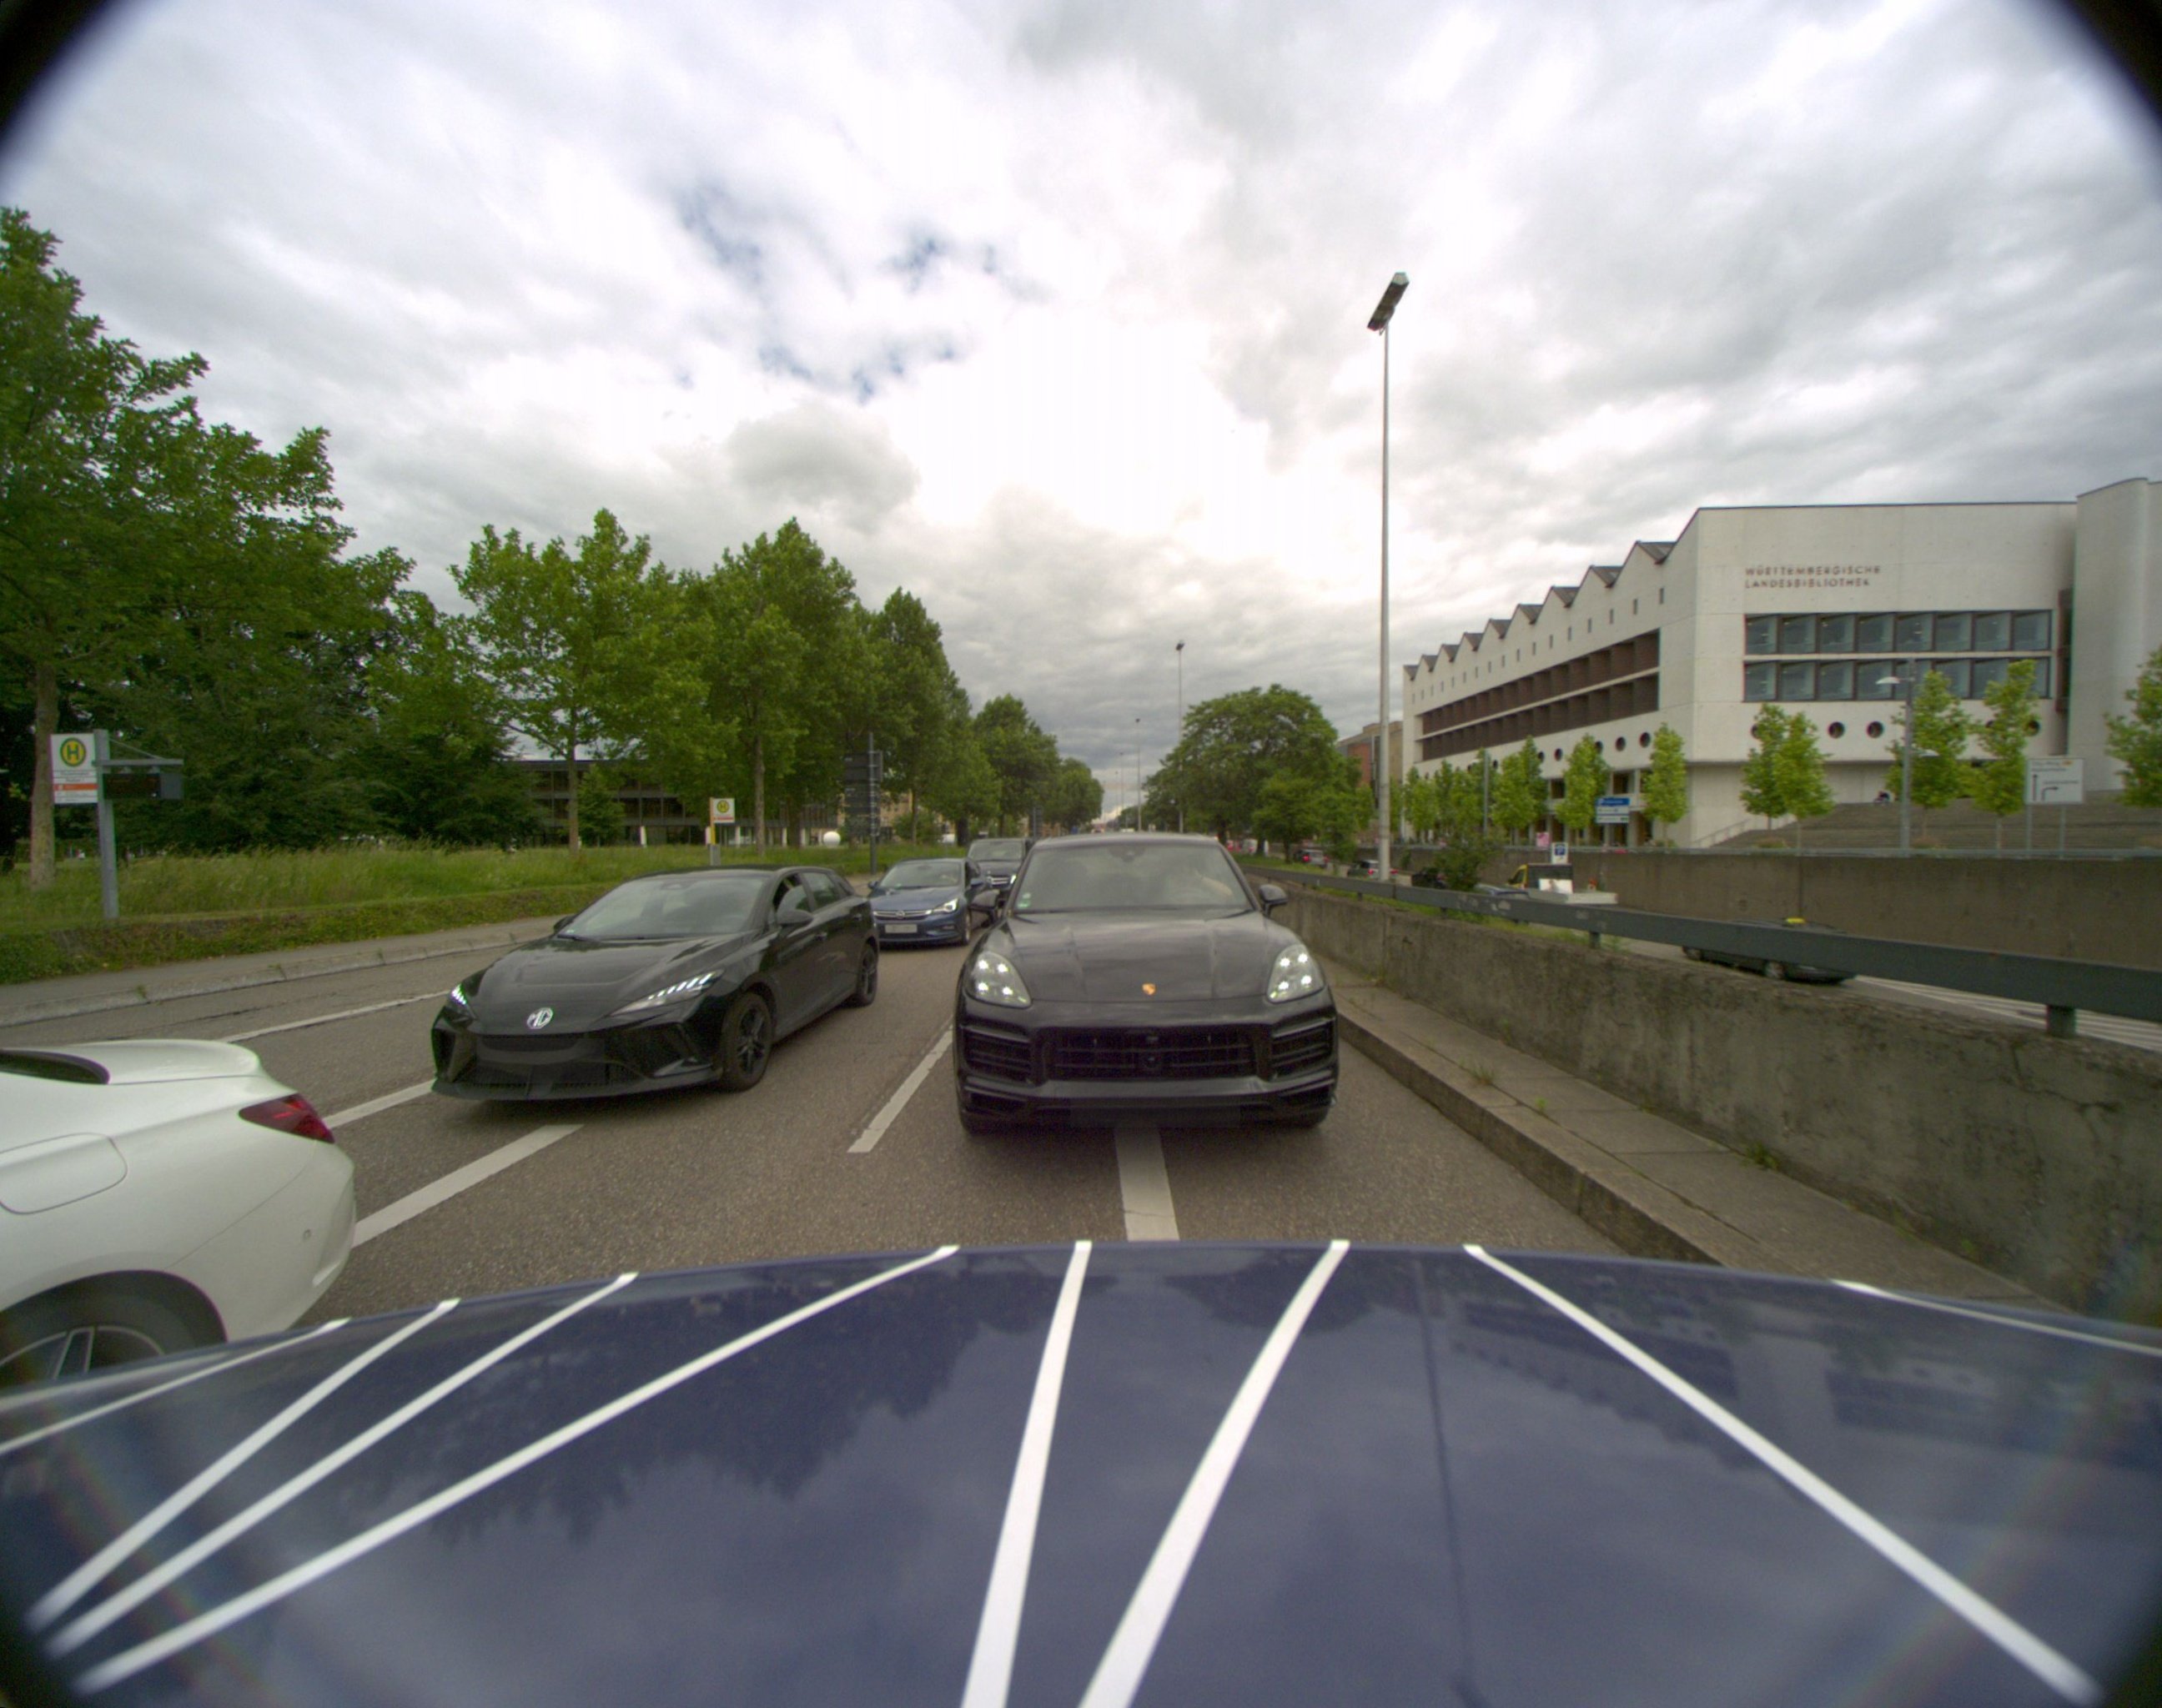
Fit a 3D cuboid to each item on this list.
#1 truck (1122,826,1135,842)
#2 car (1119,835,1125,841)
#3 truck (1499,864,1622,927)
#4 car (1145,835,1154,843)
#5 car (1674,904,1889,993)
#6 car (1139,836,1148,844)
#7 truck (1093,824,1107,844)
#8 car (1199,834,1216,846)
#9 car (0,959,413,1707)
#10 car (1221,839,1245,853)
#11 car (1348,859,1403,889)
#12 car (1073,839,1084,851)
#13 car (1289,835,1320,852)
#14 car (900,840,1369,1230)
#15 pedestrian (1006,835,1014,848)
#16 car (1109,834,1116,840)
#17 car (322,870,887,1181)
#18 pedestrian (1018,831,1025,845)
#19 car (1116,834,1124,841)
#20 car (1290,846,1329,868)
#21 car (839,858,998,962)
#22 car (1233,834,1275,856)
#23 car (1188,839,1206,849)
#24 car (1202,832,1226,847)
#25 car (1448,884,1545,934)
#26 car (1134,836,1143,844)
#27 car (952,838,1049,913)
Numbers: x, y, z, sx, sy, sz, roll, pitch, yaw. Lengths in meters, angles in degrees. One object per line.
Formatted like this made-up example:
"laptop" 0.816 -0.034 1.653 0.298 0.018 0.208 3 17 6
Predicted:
"truck" 10.481 -4.393 168.168 2.576 3.289 8.079 -3 2 2
"car" 10.421 -3.911 191.717 1.525 1.389 3.479 -1 -1 3
"truck" 20.763 1.703 33.248 2.187 2.386 5.380 -2 0 4
"car" 12.119 -2.604 134.317 1.372 1.390 3.721 2 1 0
"car" 20.300 2.658 22.366 2.168 1.757 4.391 1 4 0
"car" 11.701 -2.667 141.802 1.372 1.390 3.721 2 1 0
"truck" 3.653 -3.787 143.091 2.357 3.518 9.423 -3 2 2
"car" 20.481 -2.252 123.132 1.998 1.753 3.999 2 2 0
"car" -3.181 1.110 0.221 1.799 1.412 4.526 -1 1 2
"car" 17.049 -0.906 85.212 1.998 1.477 4.000 -1 1 2
"car" 17.848 1.179 46.247 1.717 1.533 3.906 -3 2 -2
"car" -0.396 -1.539 133.650 1.693 2.002 3.999 -3 2 2
"car" 25.790 -1.216 87.849 2.180 1.844 4.735 -1 1 -1
"car" 0.345 0.722 5.507 1.904 1.581 4.732 -1 1 3
"pedestrian" -10.771 -1.919 114.942 0.892 2.002 1.181 -3 2 2
"car" 10.338 -5.700 251.545 1.998 1.753 3.999 2 2 0
"car" -3.103 0.983 6.154 1.852 1.481 4.092 -1 1 2
"pedestrian" -8.921 -2.421 113.769 0.892 2.002 1.181 -3 2 2
"car" 11.385 -4.825 220.910 1.998 1.753 3.999 2 2 0
"car" 17.775 0.206 59.343 1.880 1.539 3.999 -1 1 1
"car" -2.663 0.860 13.460 1.805 1.426 4.015 -1 1 2
"car" 17.068 -0.873 75.322 2.226 2.002 5.111 -1 1 -10
"car" 16.756 -1.485 110.136 1.998 1.390 3.999 2 1 0
"car" 16.651 -1.814 95.658 1.998 1.630 5.247 5 3 0
"car" 17.216 2.220 31.715 1.816 1.562 4.168 -3 2 1
"car" 11.363 -2.762 150.865 1.372 1.389 3.722 -1 -1 -1
"car" -2.126 0.487 21.441 2.021 1.823 4.804 -1 1 2
